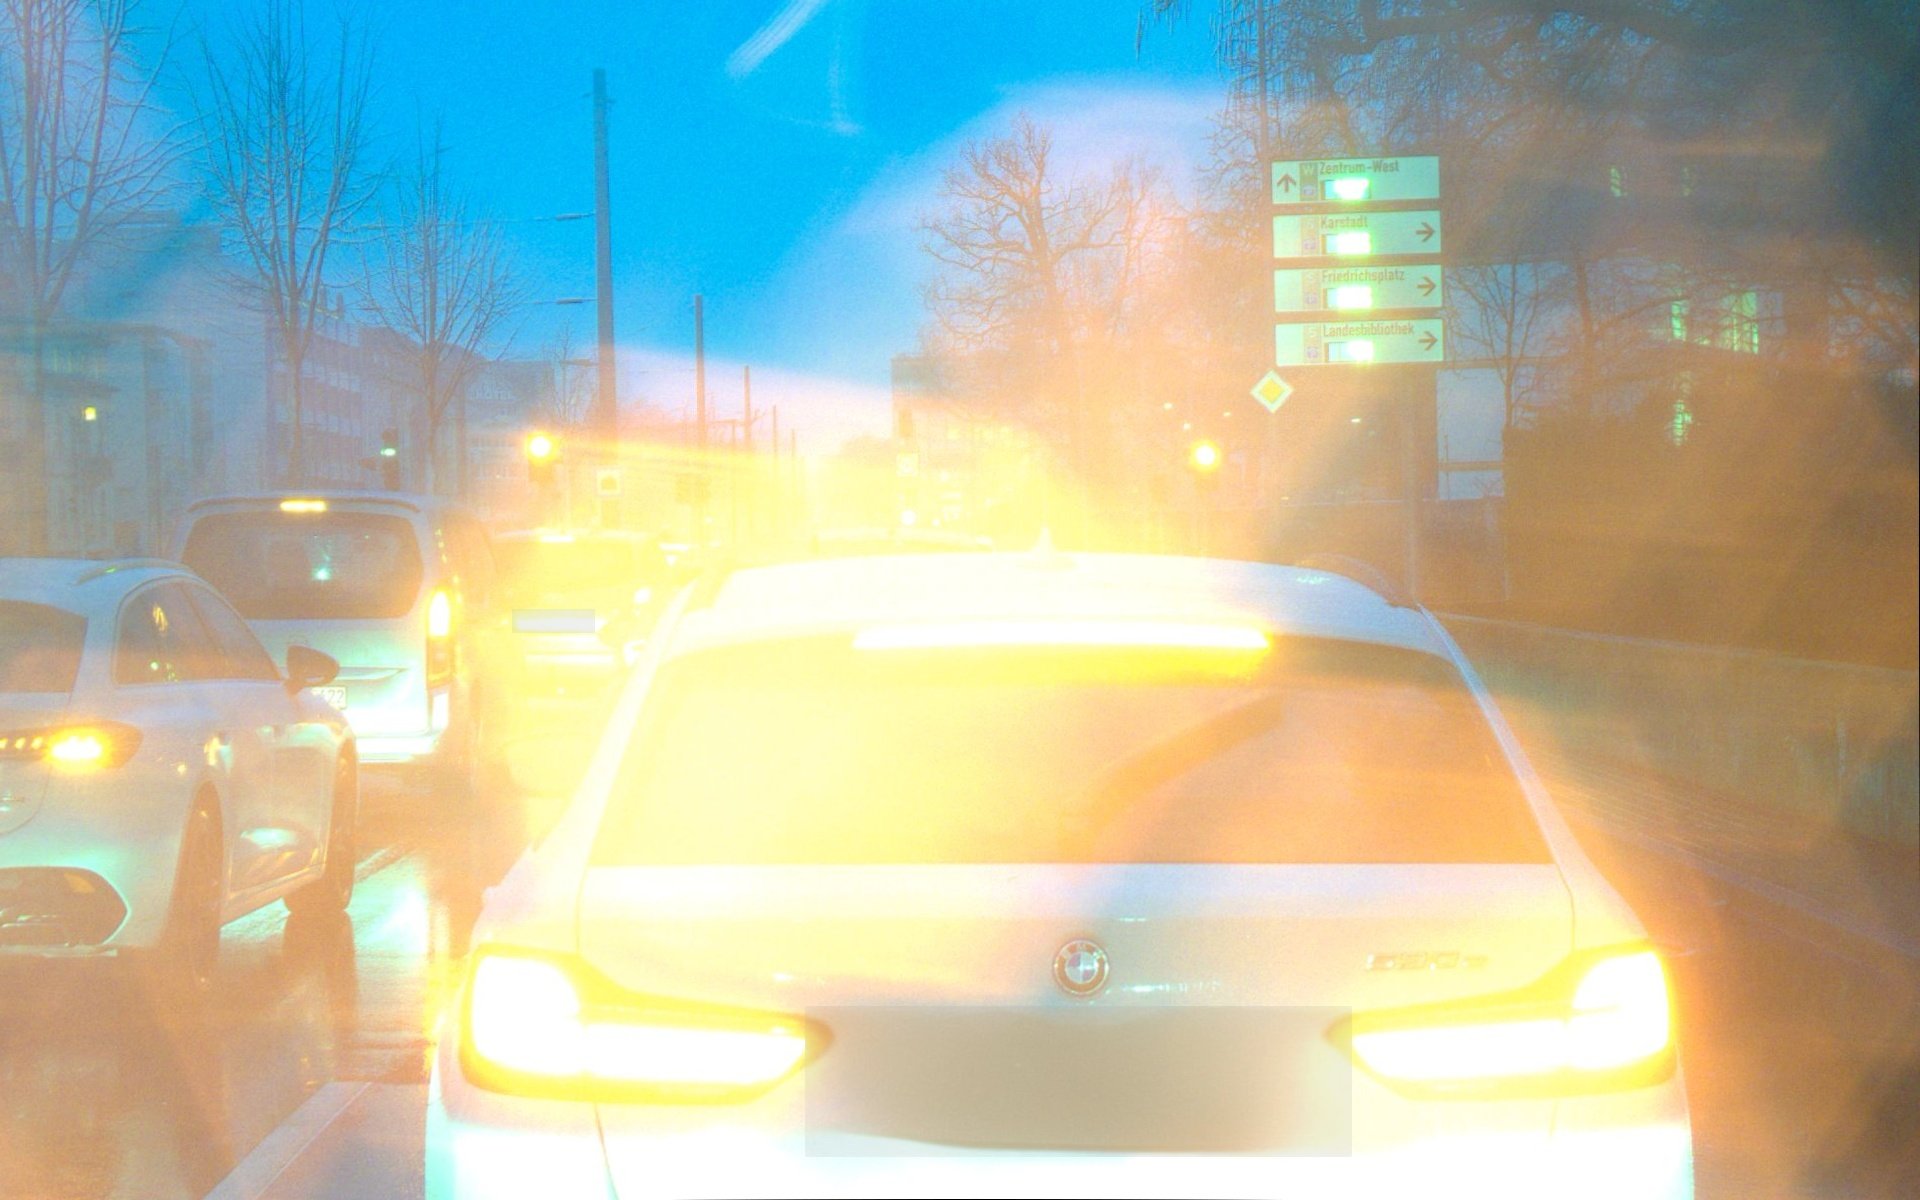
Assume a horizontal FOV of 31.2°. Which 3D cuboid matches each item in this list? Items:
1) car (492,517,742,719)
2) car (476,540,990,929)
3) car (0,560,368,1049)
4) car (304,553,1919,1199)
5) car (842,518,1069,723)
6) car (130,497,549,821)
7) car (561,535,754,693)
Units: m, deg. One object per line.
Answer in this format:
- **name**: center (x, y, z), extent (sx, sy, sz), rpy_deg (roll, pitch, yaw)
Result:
- **car**: center (-2.908, 0.103, 29.881), extent (1.806, 1.640, 4.000), rpy_deg (0, 1, 0)
- **car**: center (-0.879, 0.473, 15.091), extent (1.936, 1.452, 4.164), rpy_deg (0, 1, -1)
- **car**: center (-3.365, 0.565, 12.225), extent (1.846, 1.400, 4.614), rpy_deg (0, 1, -2)
- **car**: center (0.195, 0.685, 6.218), extent (1.999, 1.503, 4.164), rpy_deg (0, 1, -1)
- **car**: center (-0.053, 0.124, 29.414), extent (1.806, 1.640, 4.000), rpy_deg (0, 1, 0)
- **car**: center (-3.590, 0.287, 20.662), extent (1.793, 1.730, 4.538), rpy_deg (0, 1, -1)
- **car**: center (-3.274, 0.113, 37.898), extent (1.806, 1.640, 4.000), rpy_deg (0, 1, 0)
